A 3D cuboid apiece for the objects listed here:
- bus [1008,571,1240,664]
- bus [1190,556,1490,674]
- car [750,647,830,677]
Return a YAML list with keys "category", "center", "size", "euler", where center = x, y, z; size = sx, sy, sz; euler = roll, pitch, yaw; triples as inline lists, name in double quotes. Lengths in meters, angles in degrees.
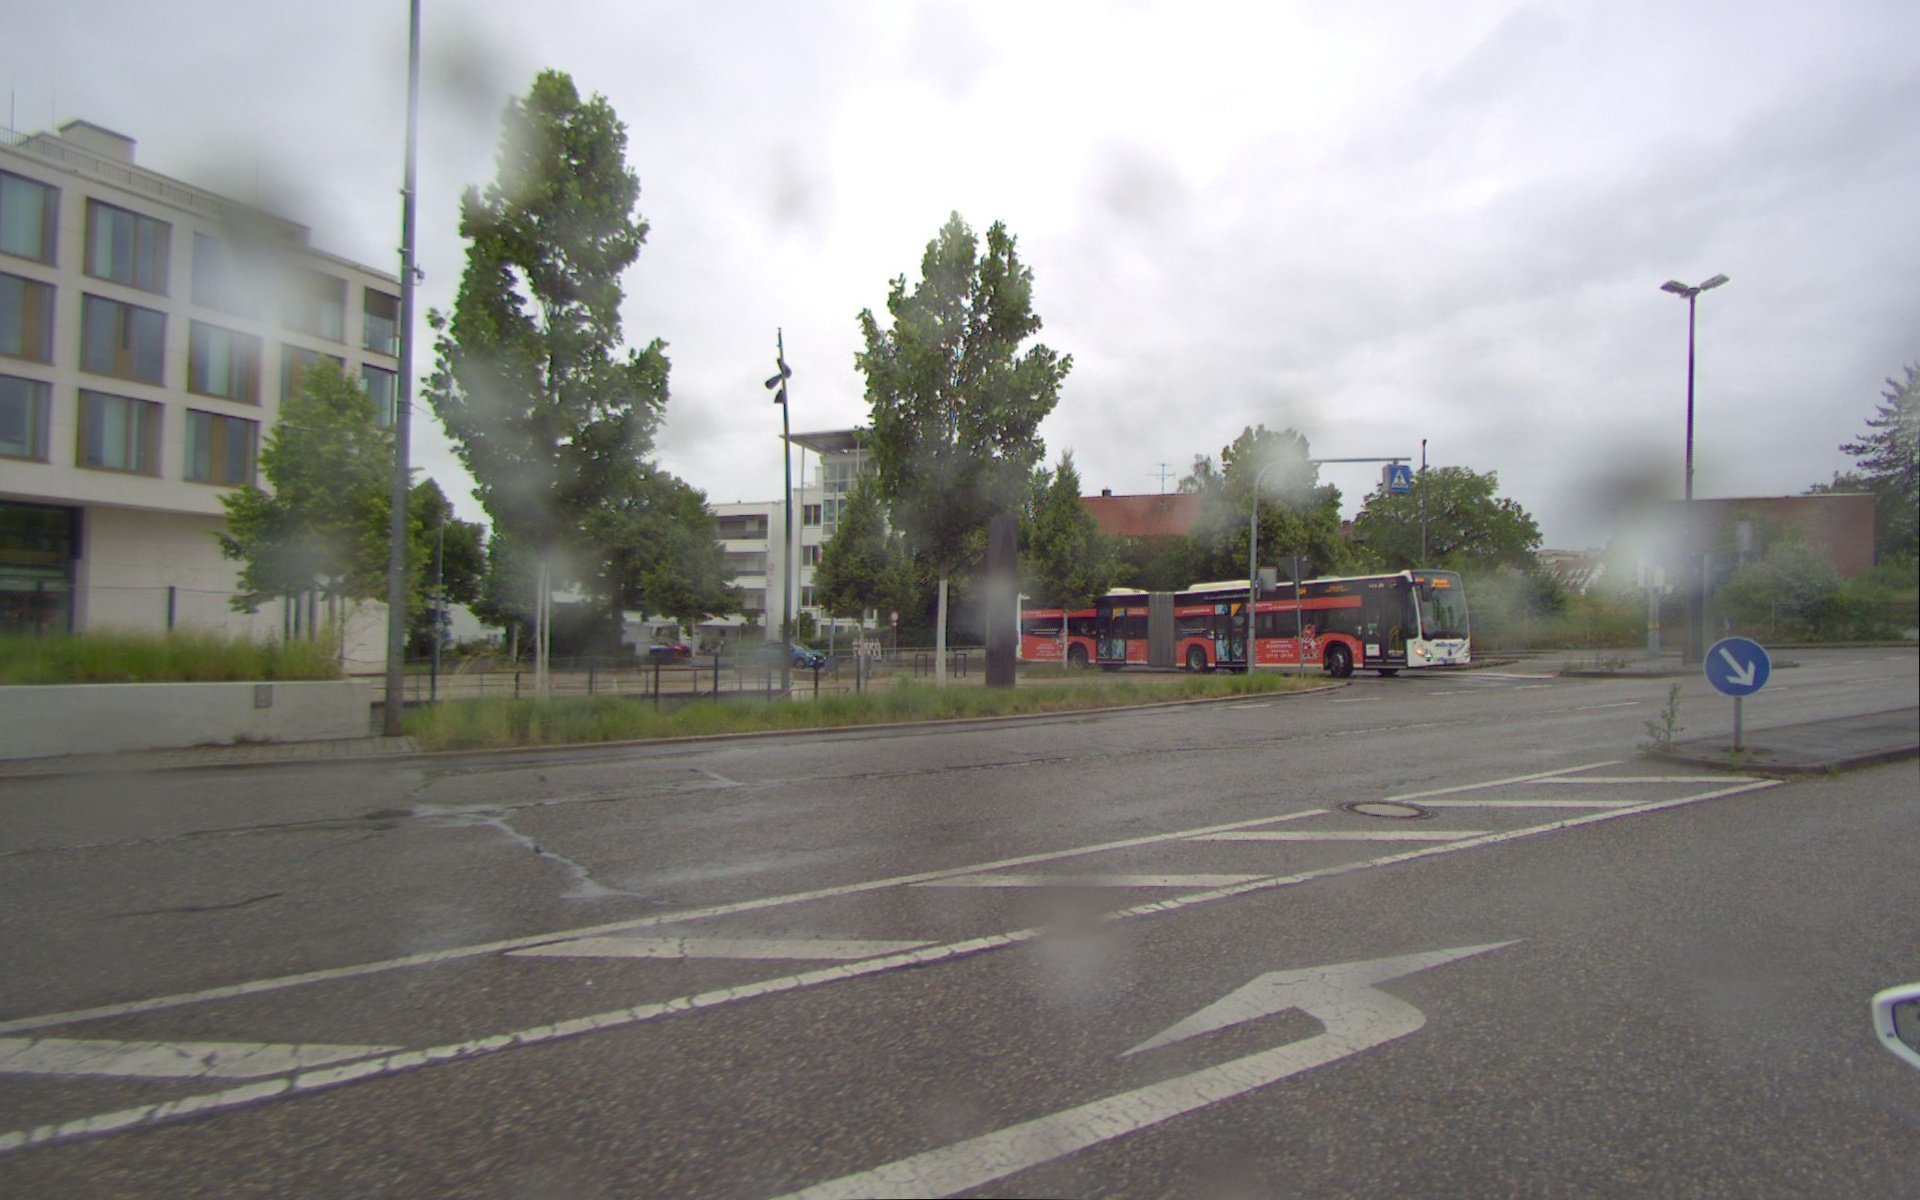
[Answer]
- category: "bus"
  center: [6.026, 0.693, 38.738]
  size: [2.764, 3.155, 9.257]
  euler: [1, -2, -41]
- category: "bus"
  center: [11.383, 0.500, 31.212]
  size: [2.771, 3.155, 8.803]
  euler: [1, -2, -33]
- category: "car"
  center: [-8.683, 3.159, 51.332]
  size: [3.676, 1.437, 1.766]
  euler: [-1, -1, 21]
